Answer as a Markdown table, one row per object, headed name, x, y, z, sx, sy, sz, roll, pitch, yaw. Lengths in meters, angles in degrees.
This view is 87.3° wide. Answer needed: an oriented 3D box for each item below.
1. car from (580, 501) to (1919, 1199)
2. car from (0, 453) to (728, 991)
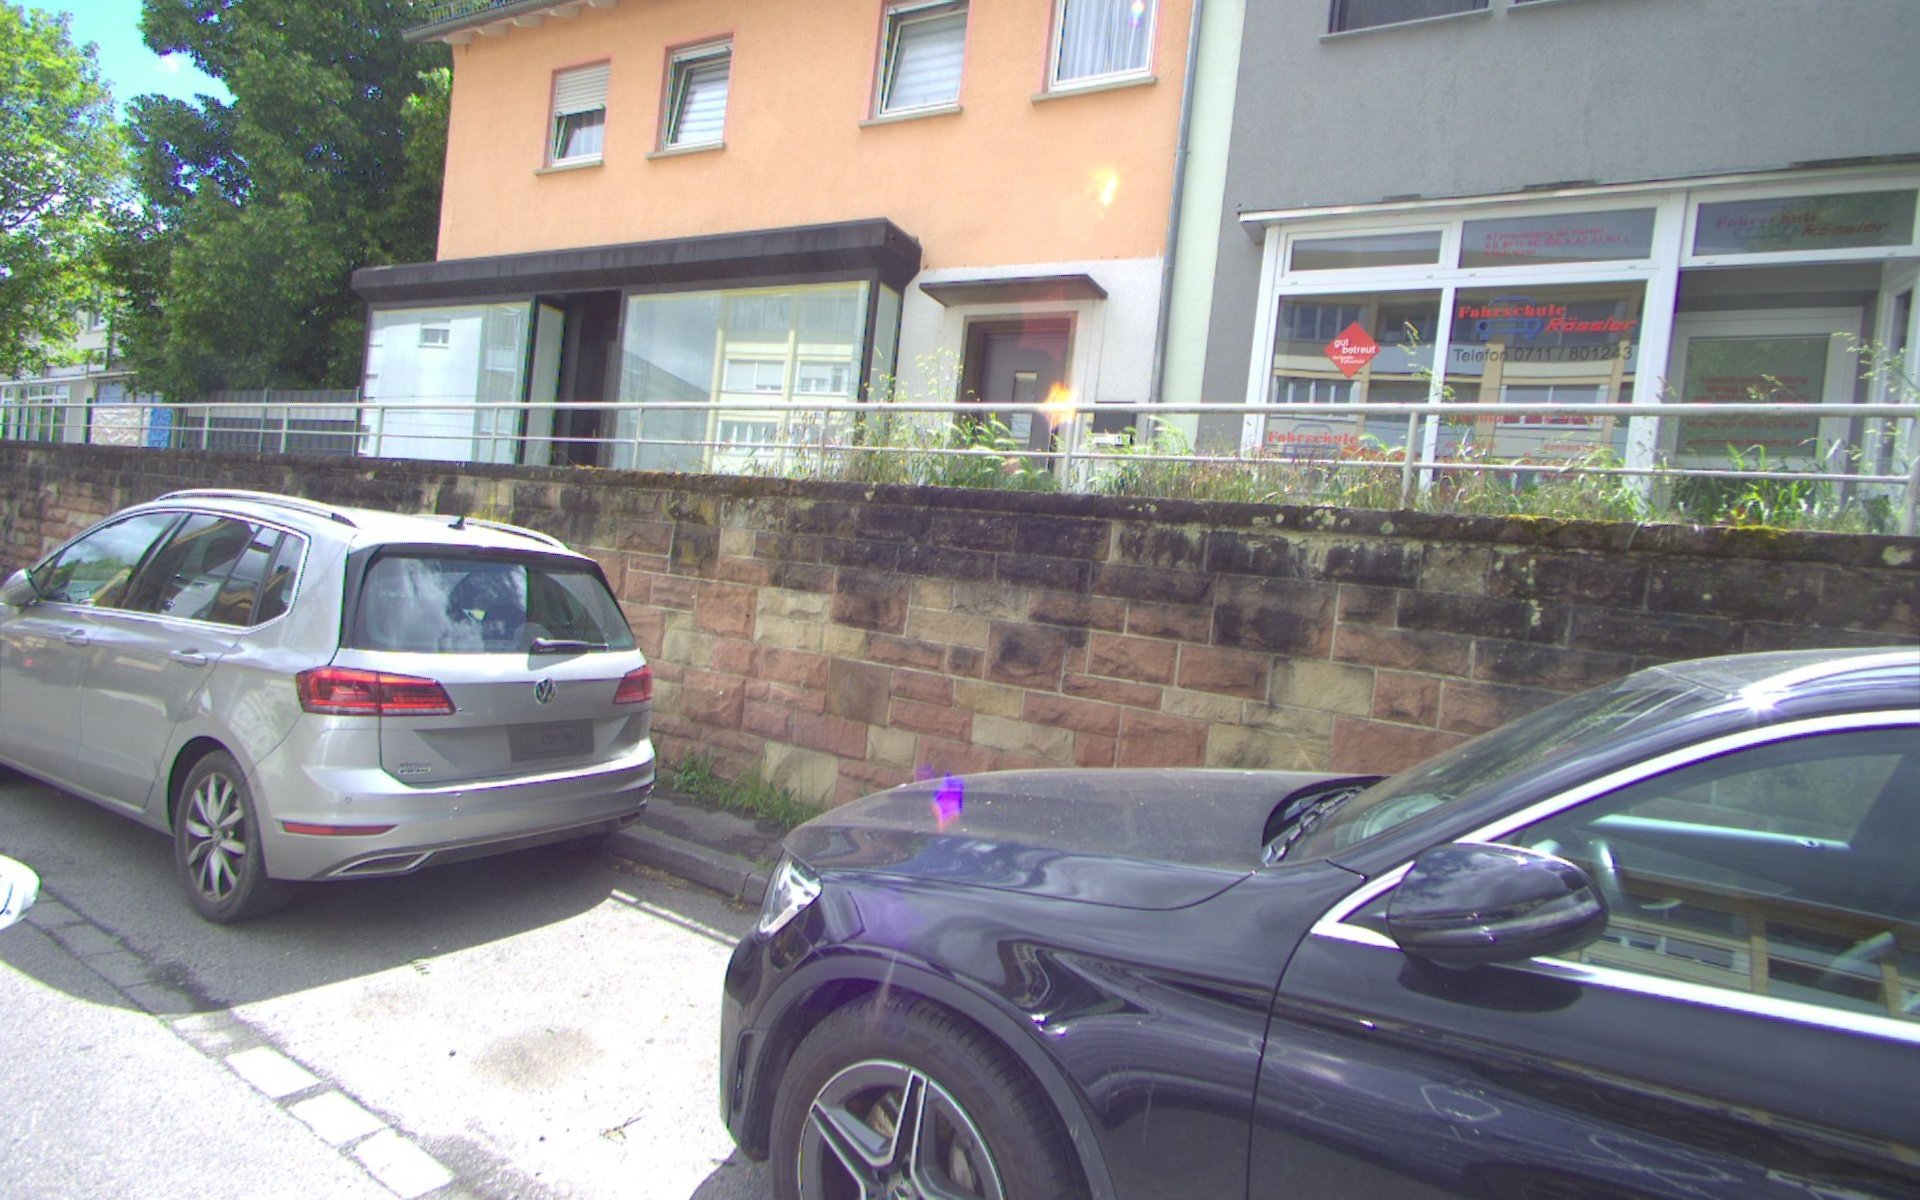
| name | x | y | z | sx | sy | sz | roll | pitch | yaw |
| --- | --- | --- | --- | --- | --- | --- | --- | --- | --- |
| car | 1.519 | 0.850 | 1.915 | 4.373 | 1.639 | 1.791 | 7 | 2 | 31 |
| car | -3.396 | 0.263 | 5.021 | 4.177 | 1.638 | 1.791 | 7 | 1 | 31 |
